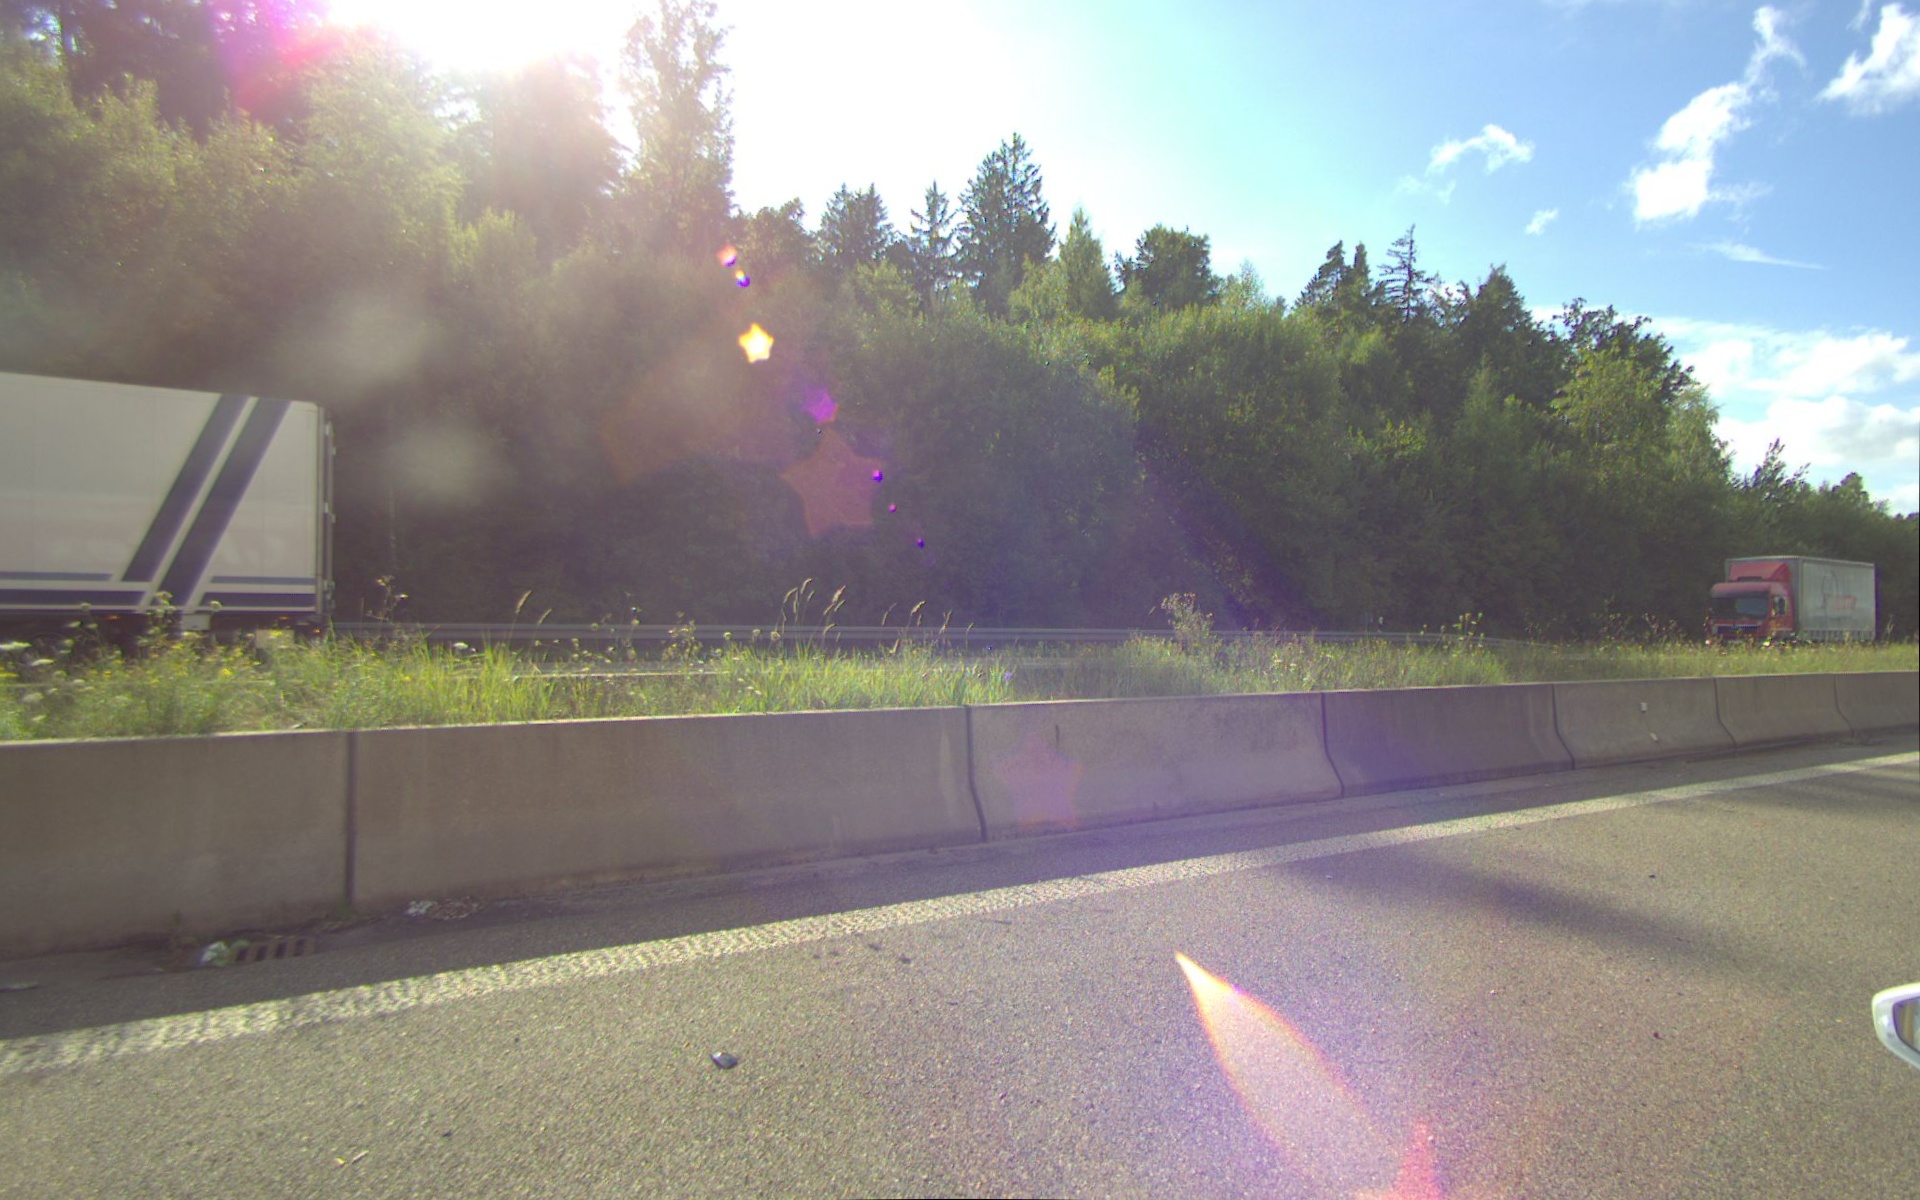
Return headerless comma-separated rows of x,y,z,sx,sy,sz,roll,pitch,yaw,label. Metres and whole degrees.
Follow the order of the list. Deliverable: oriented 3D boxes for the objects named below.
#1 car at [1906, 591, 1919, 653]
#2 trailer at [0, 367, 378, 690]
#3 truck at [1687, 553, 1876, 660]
41.593,0.965,41.380,6.257,2.484,2.150,1,0,-31,car
-12.710,-0.906,13.485,8.392,3.975,2.776,2,0,-31,trailer
34.357,0.333,41.847,10.067,4.045,2.787,1,0,-31,truck
